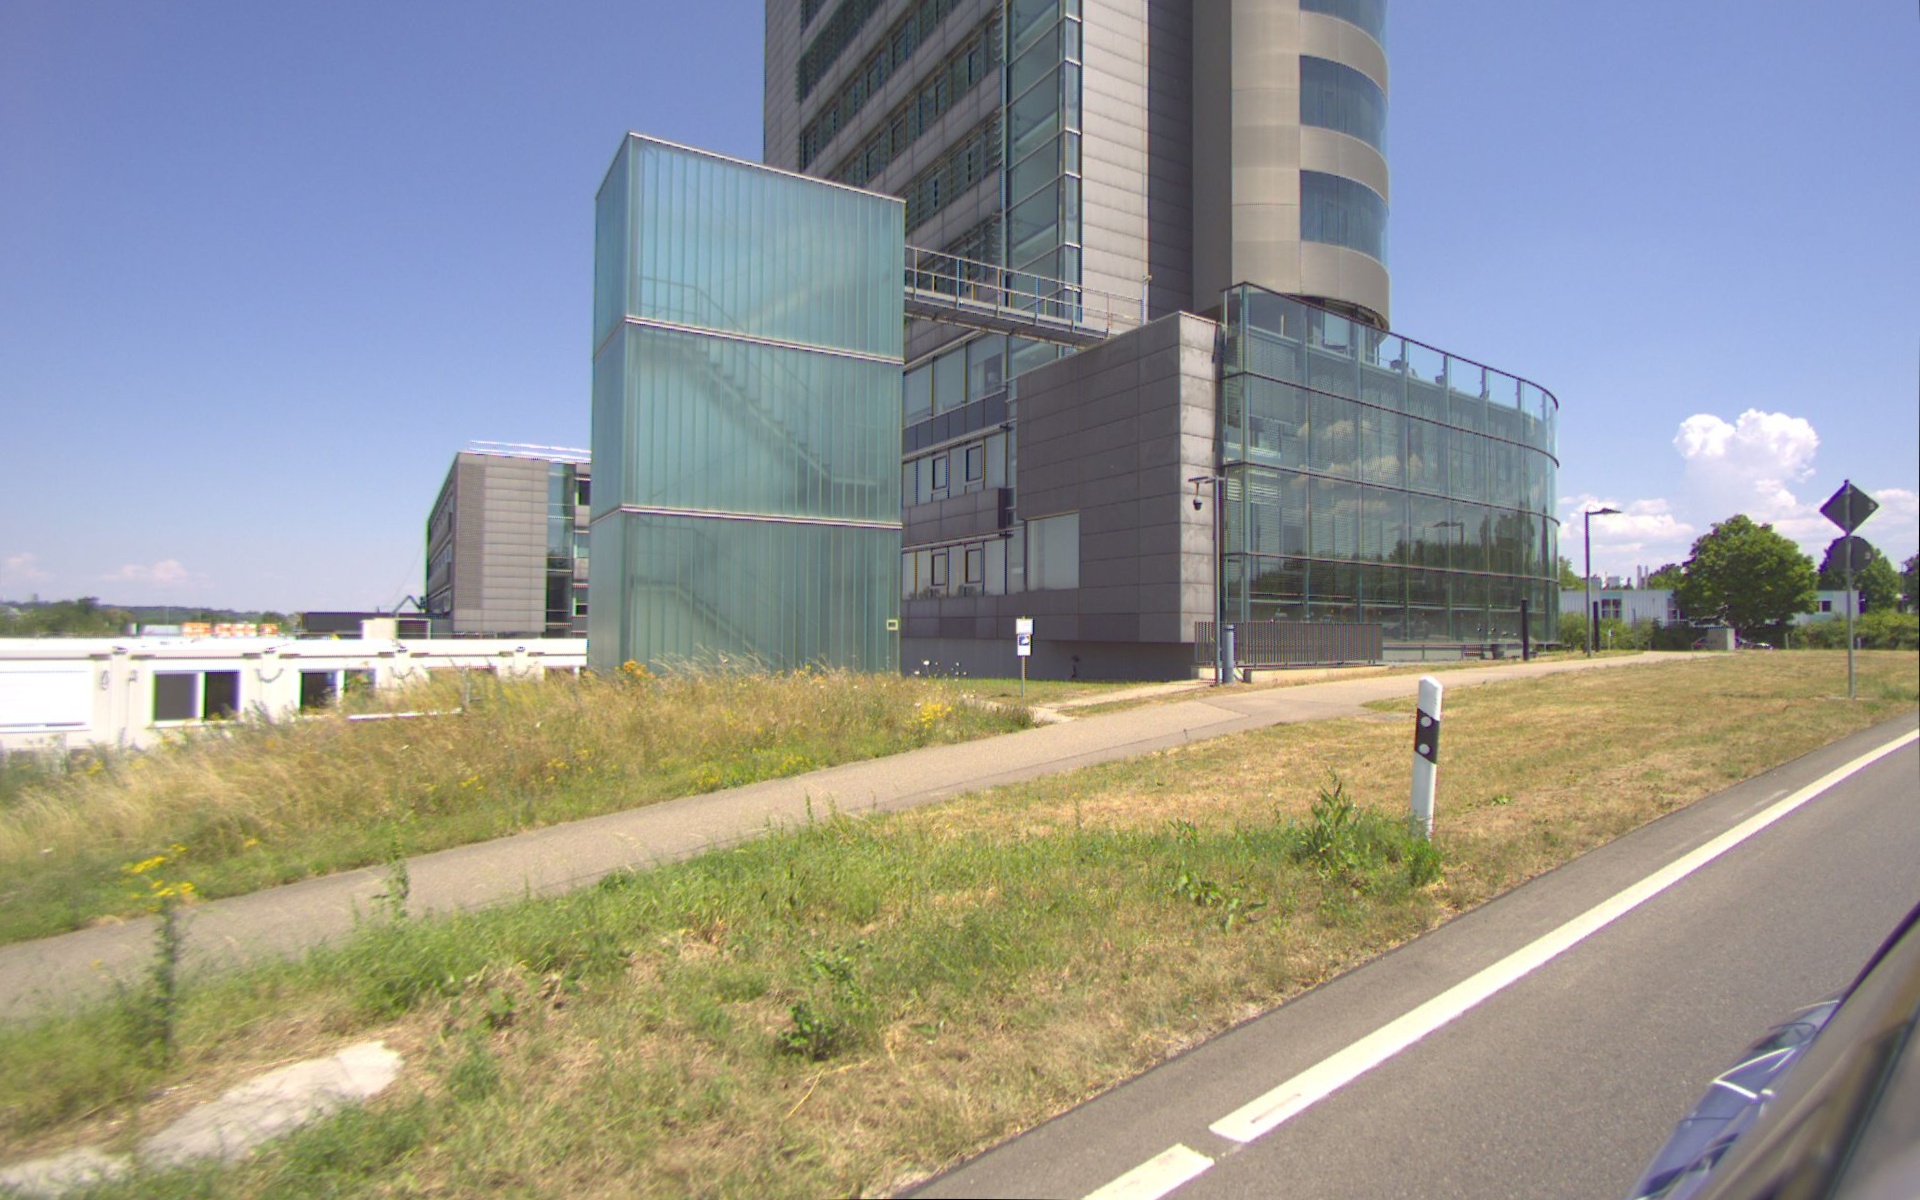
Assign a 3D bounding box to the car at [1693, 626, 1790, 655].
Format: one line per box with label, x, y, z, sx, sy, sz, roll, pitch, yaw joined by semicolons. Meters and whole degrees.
car;45.711;2.373;59.338;4.325;1.620;1.913;-3;-4;36
